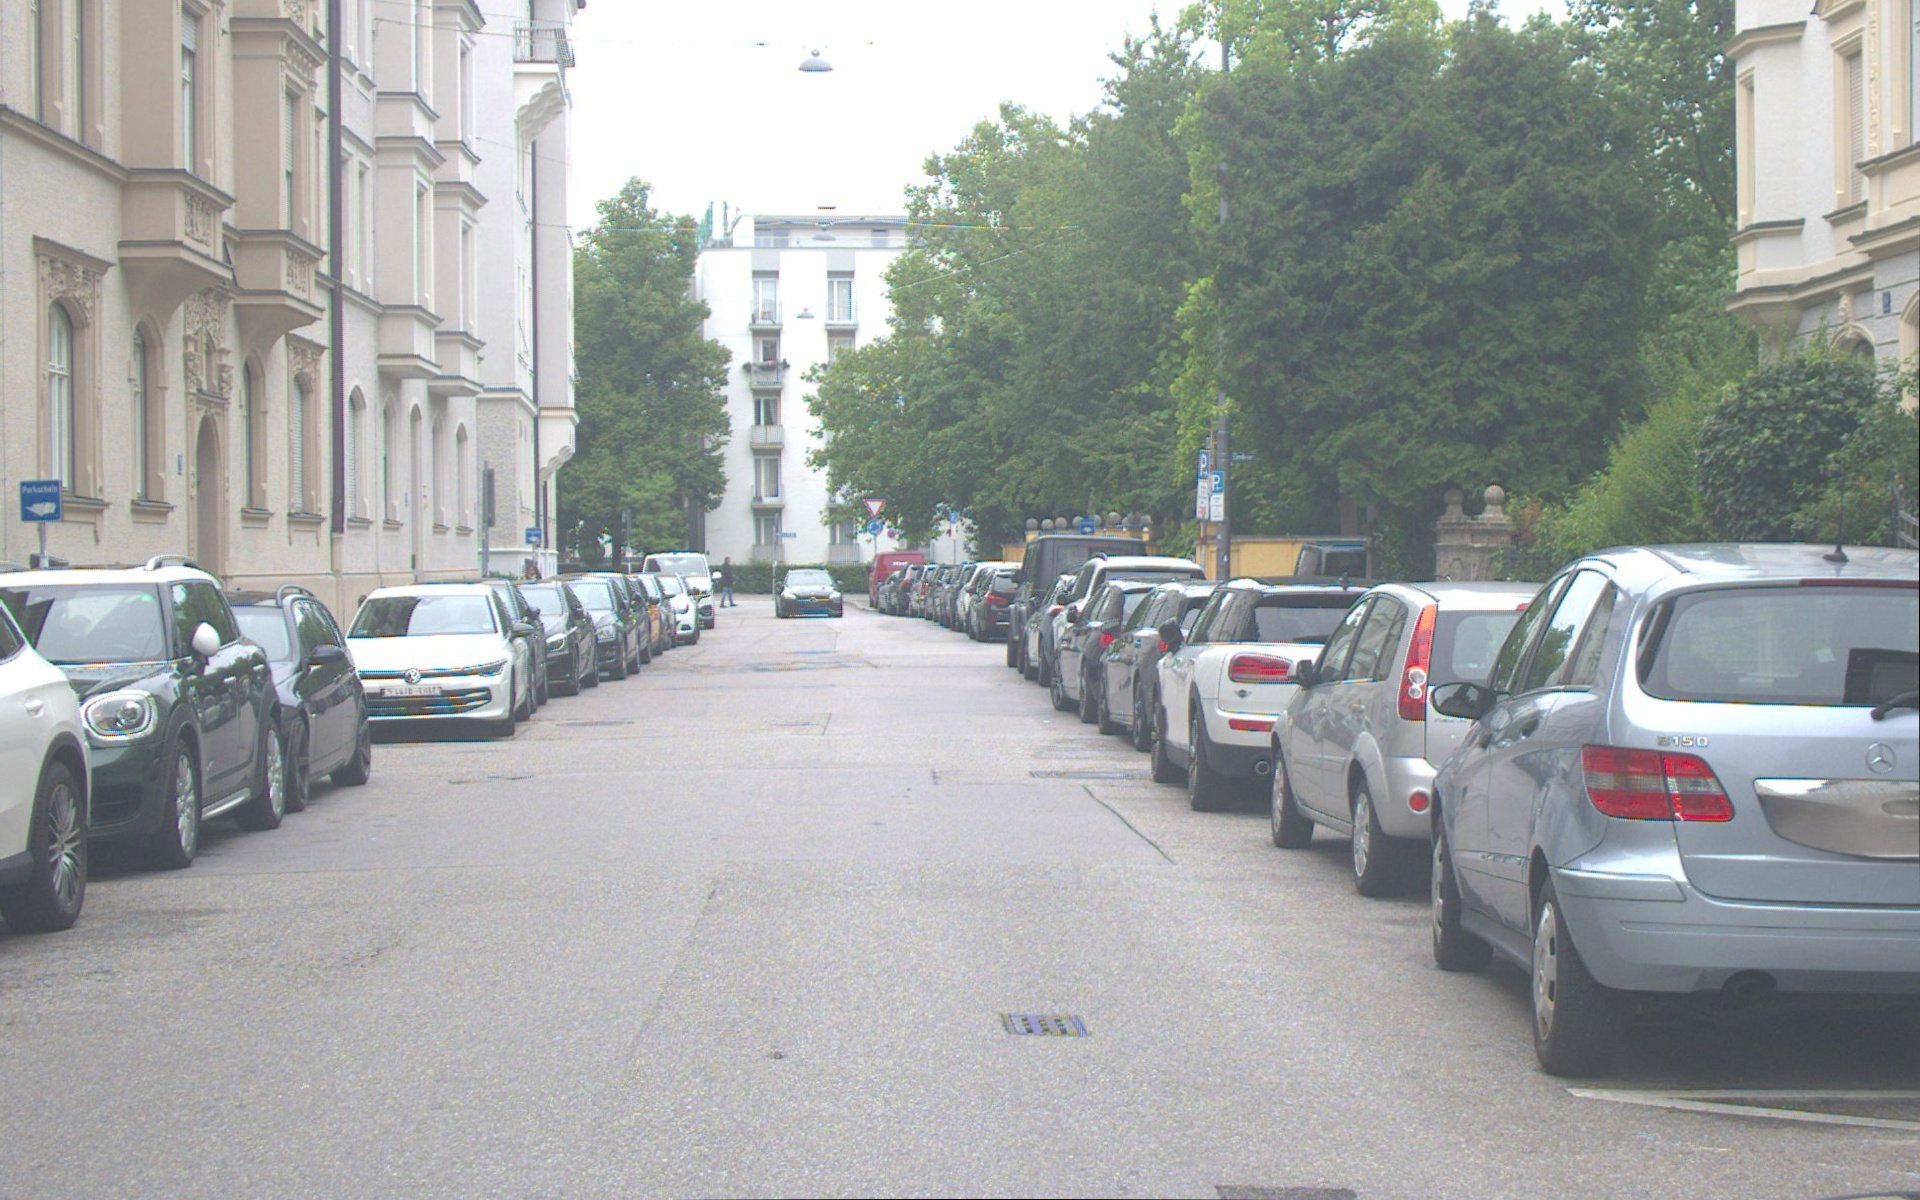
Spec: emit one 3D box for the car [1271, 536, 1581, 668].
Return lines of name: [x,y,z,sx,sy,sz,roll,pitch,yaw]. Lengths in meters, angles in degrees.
car: [7.368,0.014,54.552,4.528,1.943,1.904,-1,2,-8]

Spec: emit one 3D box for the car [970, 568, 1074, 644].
car: [1.178,0.106,67.329,1.838,1.408,4.343,1,0,-1]

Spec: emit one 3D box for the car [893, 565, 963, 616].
car: [-1.004,-0.304,106.104,1.838,1.513,3.948,1,0,-5]

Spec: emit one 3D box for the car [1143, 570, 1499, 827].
car: [2.251,0.566,22.427,1.784,1.499,4.065,1,1,-1]

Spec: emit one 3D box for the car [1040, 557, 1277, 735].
car: [1.933,0.411,34.748,1.750,1.605,4.425,1,1,-5]

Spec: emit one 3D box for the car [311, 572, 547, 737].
car: [-5.186,0.492,34.051,1.836,1.429,4.245,-2,1,-3]

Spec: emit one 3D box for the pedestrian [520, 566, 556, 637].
pedestrian: [-10.060,0.026,82.019,0.792,1.673,0.700,-1,1,-11]

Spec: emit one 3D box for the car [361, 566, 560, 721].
car: [-5.553,0.435,38.691,1.770,1.513,4.386,-3,1,-3]

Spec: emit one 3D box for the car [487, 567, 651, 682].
car: [-5.518,0.317,48.964,1.836,1.431,4.245,-3,1,-1]

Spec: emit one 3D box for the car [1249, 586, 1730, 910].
car: [2.500,0.650,17.007,1.754,1.401,3.452,1,1,-1]

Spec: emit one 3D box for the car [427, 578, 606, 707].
car: [-5.550,0.491,43.525,1.833,1.429,4.554,-2,1,-3]

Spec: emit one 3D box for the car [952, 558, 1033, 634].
car: [0.707,-0.087,77.425,1.513,1.656,3.674,1,0,-4]

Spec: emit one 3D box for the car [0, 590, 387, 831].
car: [-5.094,0.673,23.376,1.787,1.408,4.368,0,1,-2]

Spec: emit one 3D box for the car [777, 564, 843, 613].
car: [-4.490,-0.362,102.489,1.874,1.423,4.409,0,1,-4]

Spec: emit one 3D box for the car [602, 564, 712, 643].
car: [-6.113,0.047,69.727,1.836,1.433,4.275,-3,1,-1]

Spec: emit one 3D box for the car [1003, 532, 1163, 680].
car: [1.713,0.036,49.512,1.950,1.947,4.666,1,2,-2]

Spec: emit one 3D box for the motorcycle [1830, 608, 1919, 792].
motorcycle: [6.168,0.621,22.304,0.607,1.108,1.964,-1,1,2]

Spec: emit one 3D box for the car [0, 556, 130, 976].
car: [-4.673,0.656,13.196,1.915,1.613,4.571,0,1,-1]

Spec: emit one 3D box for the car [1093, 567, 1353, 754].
car: [2.217,0.475,29.938,1.683,1.499,4.018,1,1,-4]

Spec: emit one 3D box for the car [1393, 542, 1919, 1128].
car: [2.658,0.623,11.598,1.822,1.564,4.400,2,1,1]

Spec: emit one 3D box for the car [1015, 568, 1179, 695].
car: [1.735,0.382,44.538,1.722,1.513,3.631,2,0,-3]

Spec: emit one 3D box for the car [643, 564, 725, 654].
car: [-7.059,0.207,88.385,1.886,2.120,4.707,-3,1,-3]

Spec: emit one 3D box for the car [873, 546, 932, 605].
car: [-1.963,-0.853,117.843,1.836,1.920,4.005,2,1,1]

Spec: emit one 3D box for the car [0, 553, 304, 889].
car: [-4.849,0.561,18.787,1.836,1.613,4.245,0,1,-2]

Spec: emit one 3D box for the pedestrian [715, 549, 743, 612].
pedestrian: [-8.454,-0.722,125.838,0.841,2.277,0.843,-1,0,-18]

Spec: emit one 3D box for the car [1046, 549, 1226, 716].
car: [1.974,0.351,39.739,1.723,1.763,4.413,2,0,-1]
